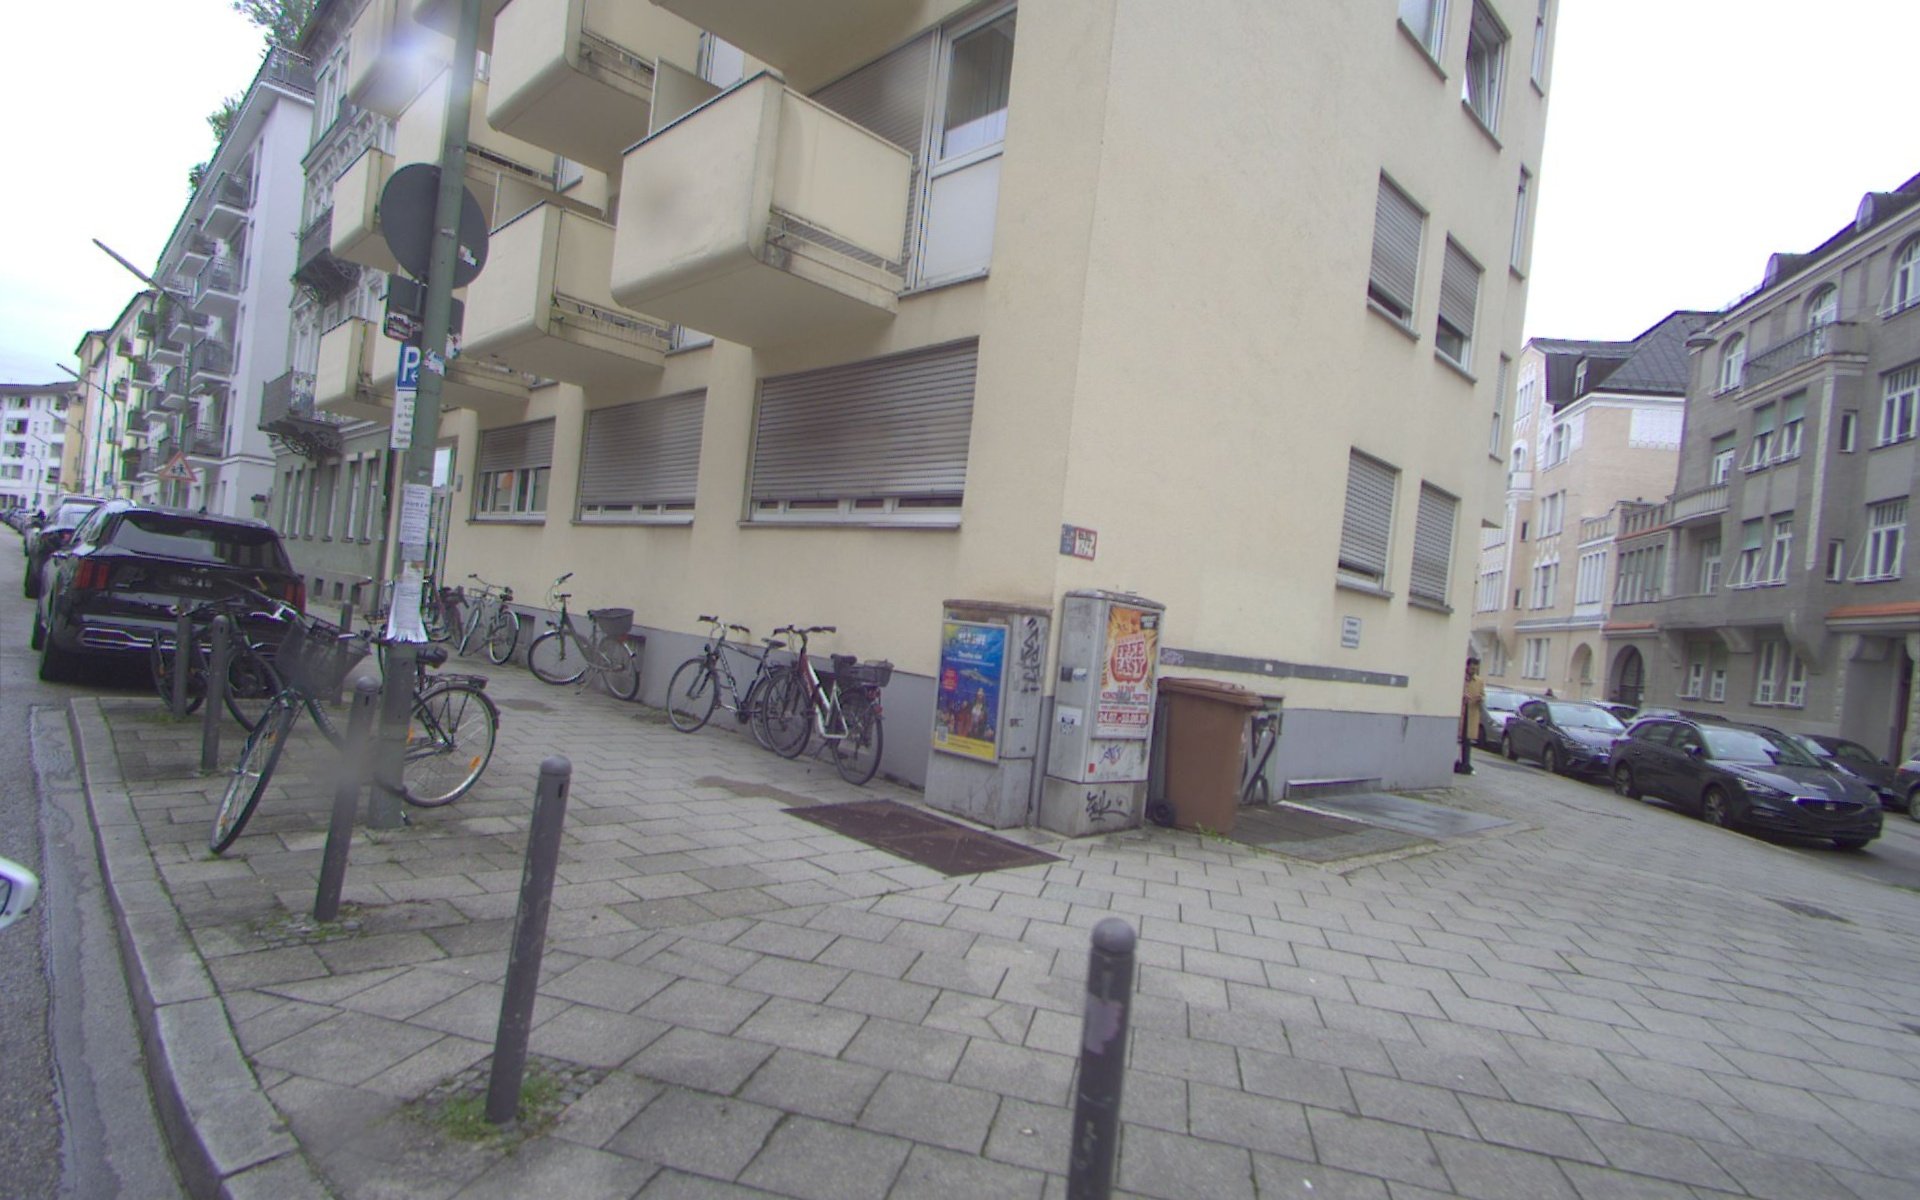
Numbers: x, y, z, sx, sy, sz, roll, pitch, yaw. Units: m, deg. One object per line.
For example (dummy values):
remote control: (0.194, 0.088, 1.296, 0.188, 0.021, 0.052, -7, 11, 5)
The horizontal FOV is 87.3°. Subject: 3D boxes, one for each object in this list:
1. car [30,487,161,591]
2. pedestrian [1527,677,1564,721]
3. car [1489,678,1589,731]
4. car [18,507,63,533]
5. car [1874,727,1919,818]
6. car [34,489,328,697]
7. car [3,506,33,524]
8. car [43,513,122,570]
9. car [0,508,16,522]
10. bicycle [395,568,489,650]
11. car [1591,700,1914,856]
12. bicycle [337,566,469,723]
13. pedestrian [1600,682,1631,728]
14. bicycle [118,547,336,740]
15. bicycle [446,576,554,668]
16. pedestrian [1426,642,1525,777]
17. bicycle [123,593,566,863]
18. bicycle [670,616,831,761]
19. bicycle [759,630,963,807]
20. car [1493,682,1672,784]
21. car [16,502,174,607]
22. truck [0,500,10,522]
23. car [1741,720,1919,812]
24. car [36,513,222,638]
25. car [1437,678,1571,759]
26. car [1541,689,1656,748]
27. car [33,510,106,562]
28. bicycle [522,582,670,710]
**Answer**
car: (-19.934, -1.403, 23.110, 1.864, 1.992, 4.757, 6, -1, -44)
pedestrian: (25.236, 4.248, 43.377, 0.977, 1.750, 0.940, 6, 0, 12)
car: (22.147, 3.968, 38.703, 1.808, 1.531, 4.611, 6, -1, 11)
car: (-60.663, -5.289, 66.353, 3.946, 1.402, 1.779, 6, -1, 43)
car: (17.658, 3.142, 16.482, 1.727, 1.533, 4.711, 6, -1, 13)
car: (-8.246, -0.124, 10.465, 1.844, 1.659, 4.494, 6, -1, -44)
car: (-91.002, -8.180, 97.190, 3.946, 1.402, 1.779, 6, -1, 43)
car: (-26.621, -1.783, 30.482, 1.603, 1.451, 3.575, 6, -1, -43)
car: (-103.596, -9.265, 108.843, 3.946, 1.402, 1.779, 6, -1, 43)
bicycle: (-7.758, 0.120, 15.027, 1.738, 1.067, 0.578, 5, 0, 42)
car: (11.394, 2.459, 14.957, 1.665, 1.489, 4.614, 6, -1, 10)
bicycle: (-4.882, 0.343, 8.747, 0.577, 1.168, 1.942, 6, 0, -40)
pedestrian: (27.649, 4.409, 42.442, 0.705, 1.839, 0.731, 6, 0, 11)
bicycle: (-5.354, 0.275, 7.304, 1.932, 1.168, 0.580, 5, 0, 34)
bicycle: (-6.238, 0.278, 13.597, 1.812, 1.067, 0.578, 5, 0, 42)
pedestrian: (7.783, 1.630, 15.241, 0.728, 1.868, 1.017, 9, -1, 2)
bicycle: (-3.036, 0.592, 5.194, 0.762, 1.079, 1.762, 6, -1, 24)
bicycle: (-1.914, 0.751, 9.000, 0.577, 1.067, 1.743, 6, 0, -40)
bicycle: (-0.800, 0.847, 7.634, 0.577, 1.067, 1.743, 6, 0, -40)
car: (12.334, 2.568, 20.215, 1.608, 1.489, 3.858, 6, -1, 10)
car: (-16.238, -0.877, 18.794, 1.854, 1.570, 4.694, 6, -1, -44)
truck: (-109.347, -10.214, 113.141, 5.203, 2.329, 2.228, 6, 0, 32)
car: (18.794, 3.480, 21.419, 1.727, 1.347, 4.099, 6, -1, 13)
car: (-12.691, -0.432, 15.254, 1.723, 1.476, 4.362, 9, -3, -44)
car: (13.635, 2.909, 25.469, 1.608, 1.555, 3.858, 6, -1, 8)
car: (21.509, 3.957, 34.109, 1.777, 1.448, 4.442, 8, -1, 13)
car: (-29.736, -2.139, 33.575, 1.643, 1.451, 3.953, 6, -1, -42)
bicycle: (-4.045, 0.493, 11.123, 1.738, 1.221, 0.686, 5, 0, 41)
